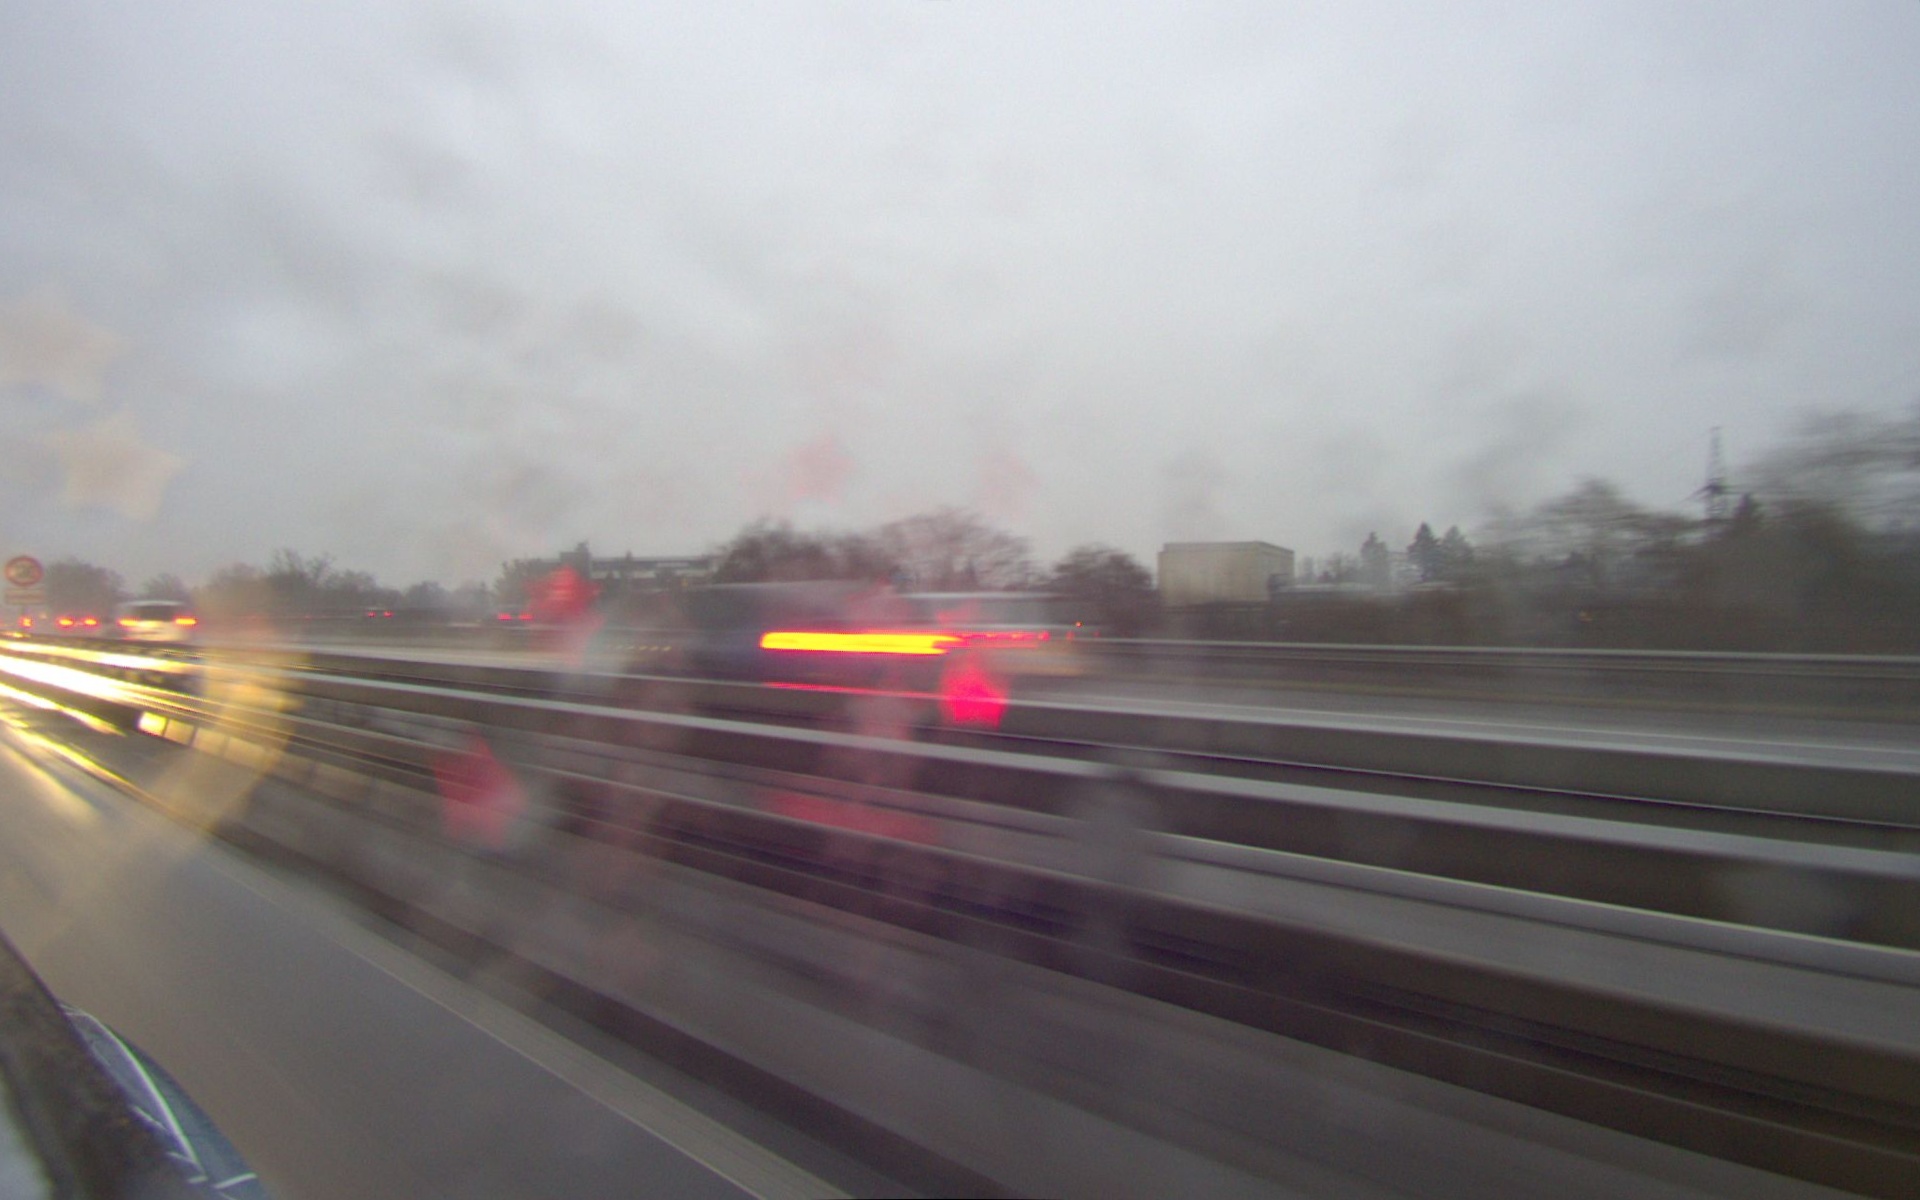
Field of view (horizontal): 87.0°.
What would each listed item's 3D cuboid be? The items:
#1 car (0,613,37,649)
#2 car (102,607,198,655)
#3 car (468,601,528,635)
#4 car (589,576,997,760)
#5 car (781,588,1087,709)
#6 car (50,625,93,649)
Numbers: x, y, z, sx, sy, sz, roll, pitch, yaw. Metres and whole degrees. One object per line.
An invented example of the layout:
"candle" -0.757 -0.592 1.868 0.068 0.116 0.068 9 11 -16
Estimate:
"car" -60.389 2.008 64.389 5.198 2.152 1.972 -3 -2 43
"car" -27.791 1.071 34.690 4.136 1.563 1.972 -3 -2 43
"car" -28.815 1.129 63.048 3.999 2.029 1.972 -2 -1 42
"car" -1.926 0.658 10.744 4.464 1.563 1.799 -3 -2 40
"car" -0.494 0.701 15.242 4.388 1.563 1.964 -3 -2 40
"car" -63.034 2.619 71.771 4.544 1.649 1.816 -3 -2 43
